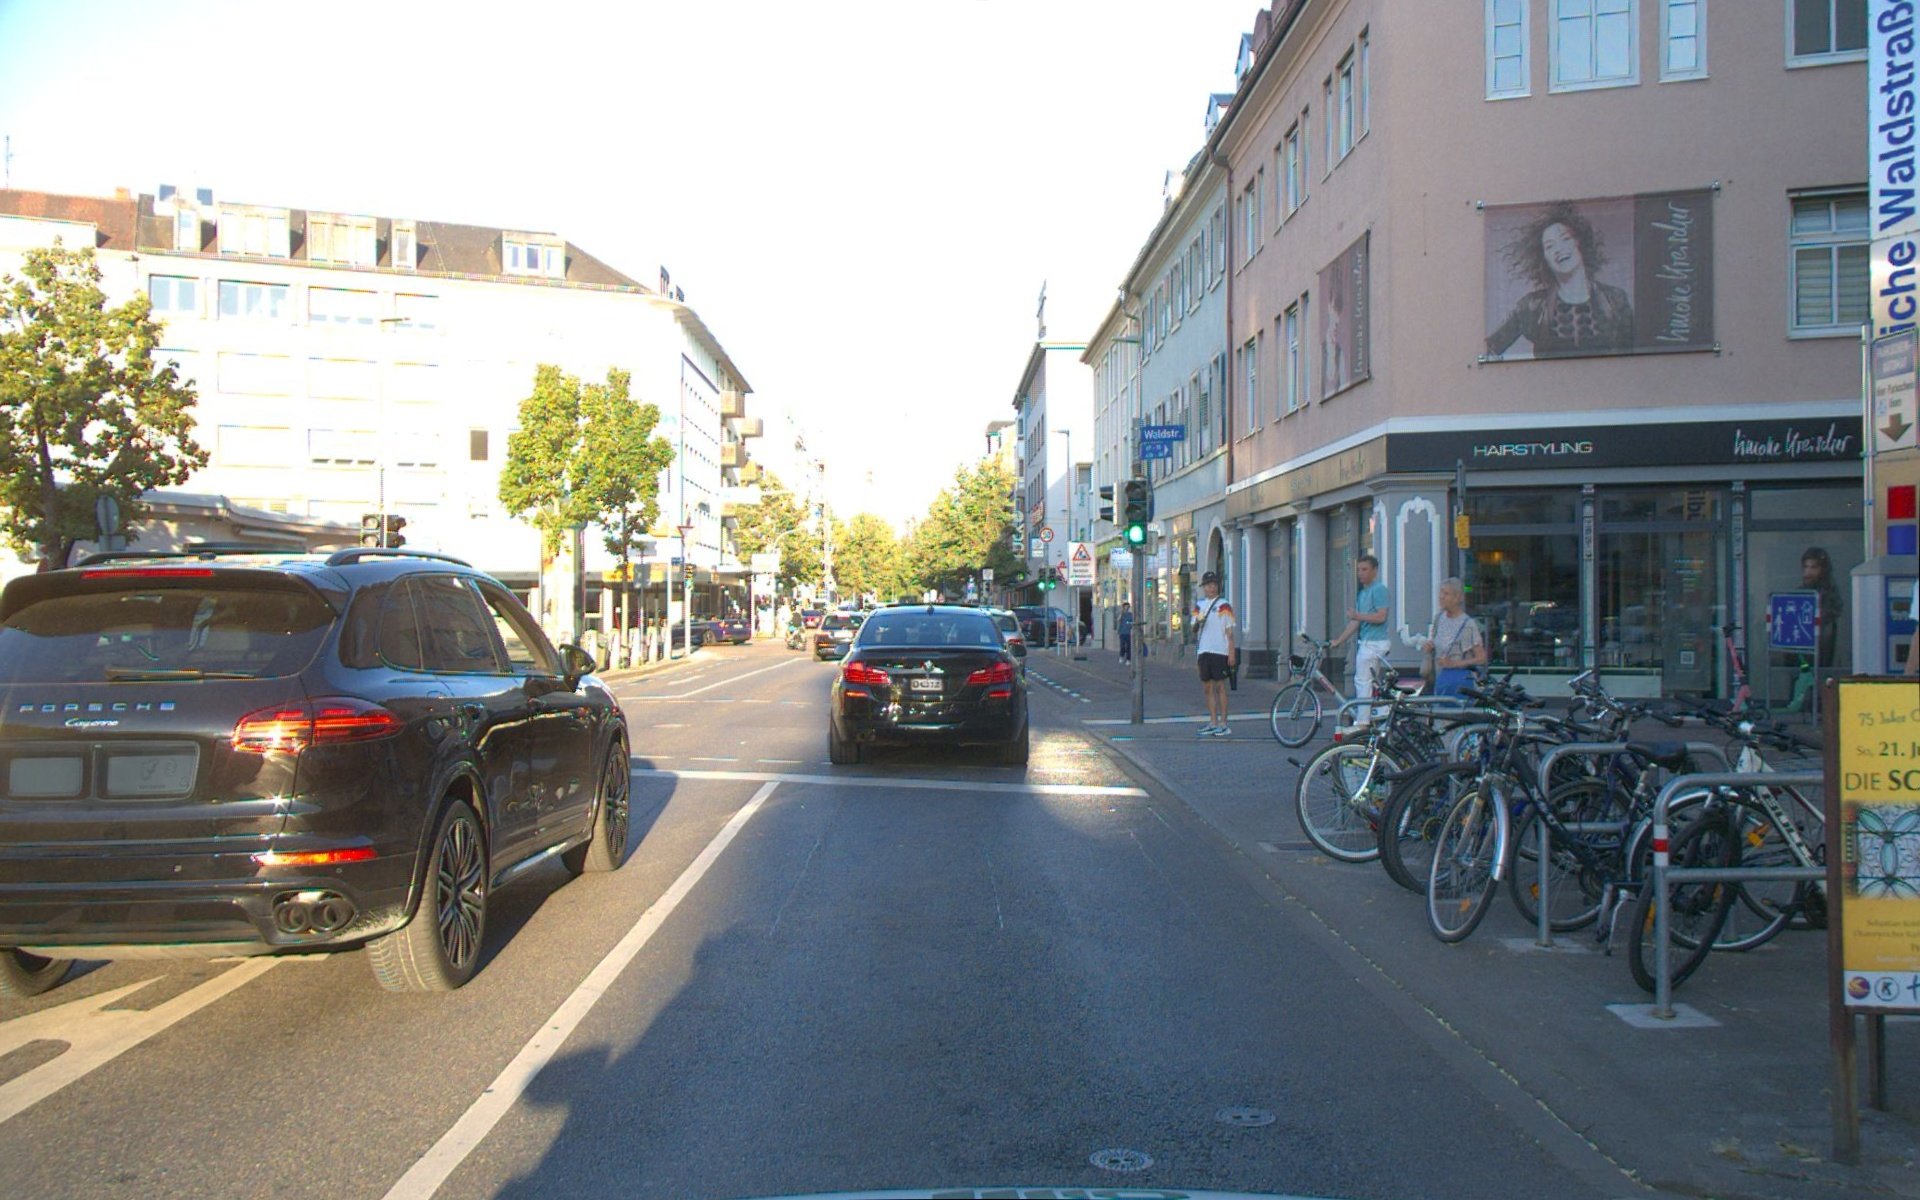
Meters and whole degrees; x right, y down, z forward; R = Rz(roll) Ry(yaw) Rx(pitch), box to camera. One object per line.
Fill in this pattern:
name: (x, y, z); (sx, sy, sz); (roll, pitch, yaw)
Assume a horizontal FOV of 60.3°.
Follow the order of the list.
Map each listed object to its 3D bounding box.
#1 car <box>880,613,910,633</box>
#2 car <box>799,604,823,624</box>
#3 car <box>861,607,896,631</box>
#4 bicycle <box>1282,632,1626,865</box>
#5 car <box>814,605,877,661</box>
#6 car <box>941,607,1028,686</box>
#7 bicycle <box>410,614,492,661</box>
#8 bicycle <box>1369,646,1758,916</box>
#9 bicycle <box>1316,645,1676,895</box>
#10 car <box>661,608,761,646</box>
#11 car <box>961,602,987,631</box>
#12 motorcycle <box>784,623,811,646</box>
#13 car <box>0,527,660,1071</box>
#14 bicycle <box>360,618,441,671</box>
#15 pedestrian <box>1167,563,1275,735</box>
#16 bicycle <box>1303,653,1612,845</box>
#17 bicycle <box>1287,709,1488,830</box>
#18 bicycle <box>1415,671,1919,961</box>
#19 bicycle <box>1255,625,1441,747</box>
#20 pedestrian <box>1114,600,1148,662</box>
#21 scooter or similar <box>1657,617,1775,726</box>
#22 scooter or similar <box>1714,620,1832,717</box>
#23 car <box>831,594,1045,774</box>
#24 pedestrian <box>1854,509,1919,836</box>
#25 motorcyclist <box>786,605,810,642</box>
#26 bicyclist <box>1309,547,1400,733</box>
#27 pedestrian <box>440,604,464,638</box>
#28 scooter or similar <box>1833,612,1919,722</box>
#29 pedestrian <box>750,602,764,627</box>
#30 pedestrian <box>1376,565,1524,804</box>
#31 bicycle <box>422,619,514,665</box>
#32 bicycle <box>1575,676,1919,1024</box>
car: (-4.403, 1.516, 111.113); (1.701, 1.315, 3.994); (0, 0, -7)
car: (-11.346, 1.032, 125.684); (1.701, 1.487, 3.994); (0, 0, -7)
car: (-5.183, 1.179, 104.330); (1.955, 1.467, 3.994); (0, 0, -7)
bicycle: (2.859, 0.835, 9.641); (1.808, 1.261, 0.638); (-1, 0, -7)
car: (-3.433, 0.956, 50.285); (1.835, 1.623, 4.447); (0, 0, -3)
car: (0.514, 0.973, 36.147); (1.795, 1.603, 4.100); (0, 0, 0)
bicycle: (-14.076, 1.032, 45.797); (1.964, 1.278, 0.949); (0, -1, 0)
bicycle: (3.007, 0.863, 8.273); (1.751, 1.193, 0.620); (-2, 0, -12)
bicycle: (2.869, 0.878, 8.894); (1.751, 1.193, 0.620); (-2, 0, -13)
car: (-10.226, 1.076, 67.762); (3.925, 1.512, 1.990); (0, 0, 40)
car: (0.911, 1.082, 107.652); (1.393, 1.887, 3.050); (1, -1, -4)
motorcycle: (-6.027, 1.274, 61.359); (0.651, 0.794, 2.024); (0, 0, -16)
car: (-2.795, 0.648, 7.636); (1.908, 1.744, 4.562); (-1, 0, 1)
bicycle: (-13.949, 1.103, 41.257); (1.815, 1.278, 0.633); (0, -1, 0)
pedestrian: (3.018, 0.550, 19.139); (0.926, 1.931, 0.819); (0, -1, -27)
bicycle: (3.170, 0.924, 10.584); (1.751, 1.082, 0.716); (-2, 0, -12)
bicycle: (2.887, 1.130, 11.266); (0.986, 0.693, 1.048); (0, 0, -10)
bicycle: (3.196, 0.907, 7.315); (2.128, 1.094, 0.804); (-1, 0, -8)
bicycle: (3.956, 0.874, 16.979); (1.781, 1.207, 0.794); (-1, -1, 8)
pedestrian: (4.652, 0.845, 45.001); (0.807, 1.670, 0.871); (0, -1, -3)
scooter or similar: (8.820, 0.820, 19.330); (1.228, 1.235, 0.467); (0, -1, 22)
scooter or similar: (9.964, 0.829, 20.292); (1.276, 1.163, 0.363); (0, -1, 27)
car: (-0.271, 0.737, 16.632); (1.865, 1.567, 4.447); (0, 0, -2)
pedestrian: (5.725, 0.409, 9.690); (0.807, 1.848, 0.870); (-1, -1, 27)
motorcyclist: (-6.030, 0.870, 61.572); (0.753, 1.343, 0.991); (0, 0, -14)
bicyclist: (4.036, 0.400, 16.976); (0.815, 1.858, 0.831); (0, -1, 7)
pedestrian: (-23.340, 0.971, 76.034); (0.934, 1.564, 0.901); (0, -1, -26)
scooter or similar: (11.044, 0.785, 19.621); (1.176, 1.282, 0.363); (0, -1, 25)
pedestrian: (-13.903, 0.969, 113.276); (0.807, 1.706, 0.871); (0, 0, -2)
pedestrian: (3.609, 0.597, 12.179); (0.778, 1.682, 0.775); (-1, -1, 42)
bicycle: (-14.001, 1.195, 47.100); (2.393, 1.278, 0.787); (0, -1, 0)
bicycle: (3.316, 0.887, 6.237); (1.812, 1.143, 0.593); (-1, -1, -13)
